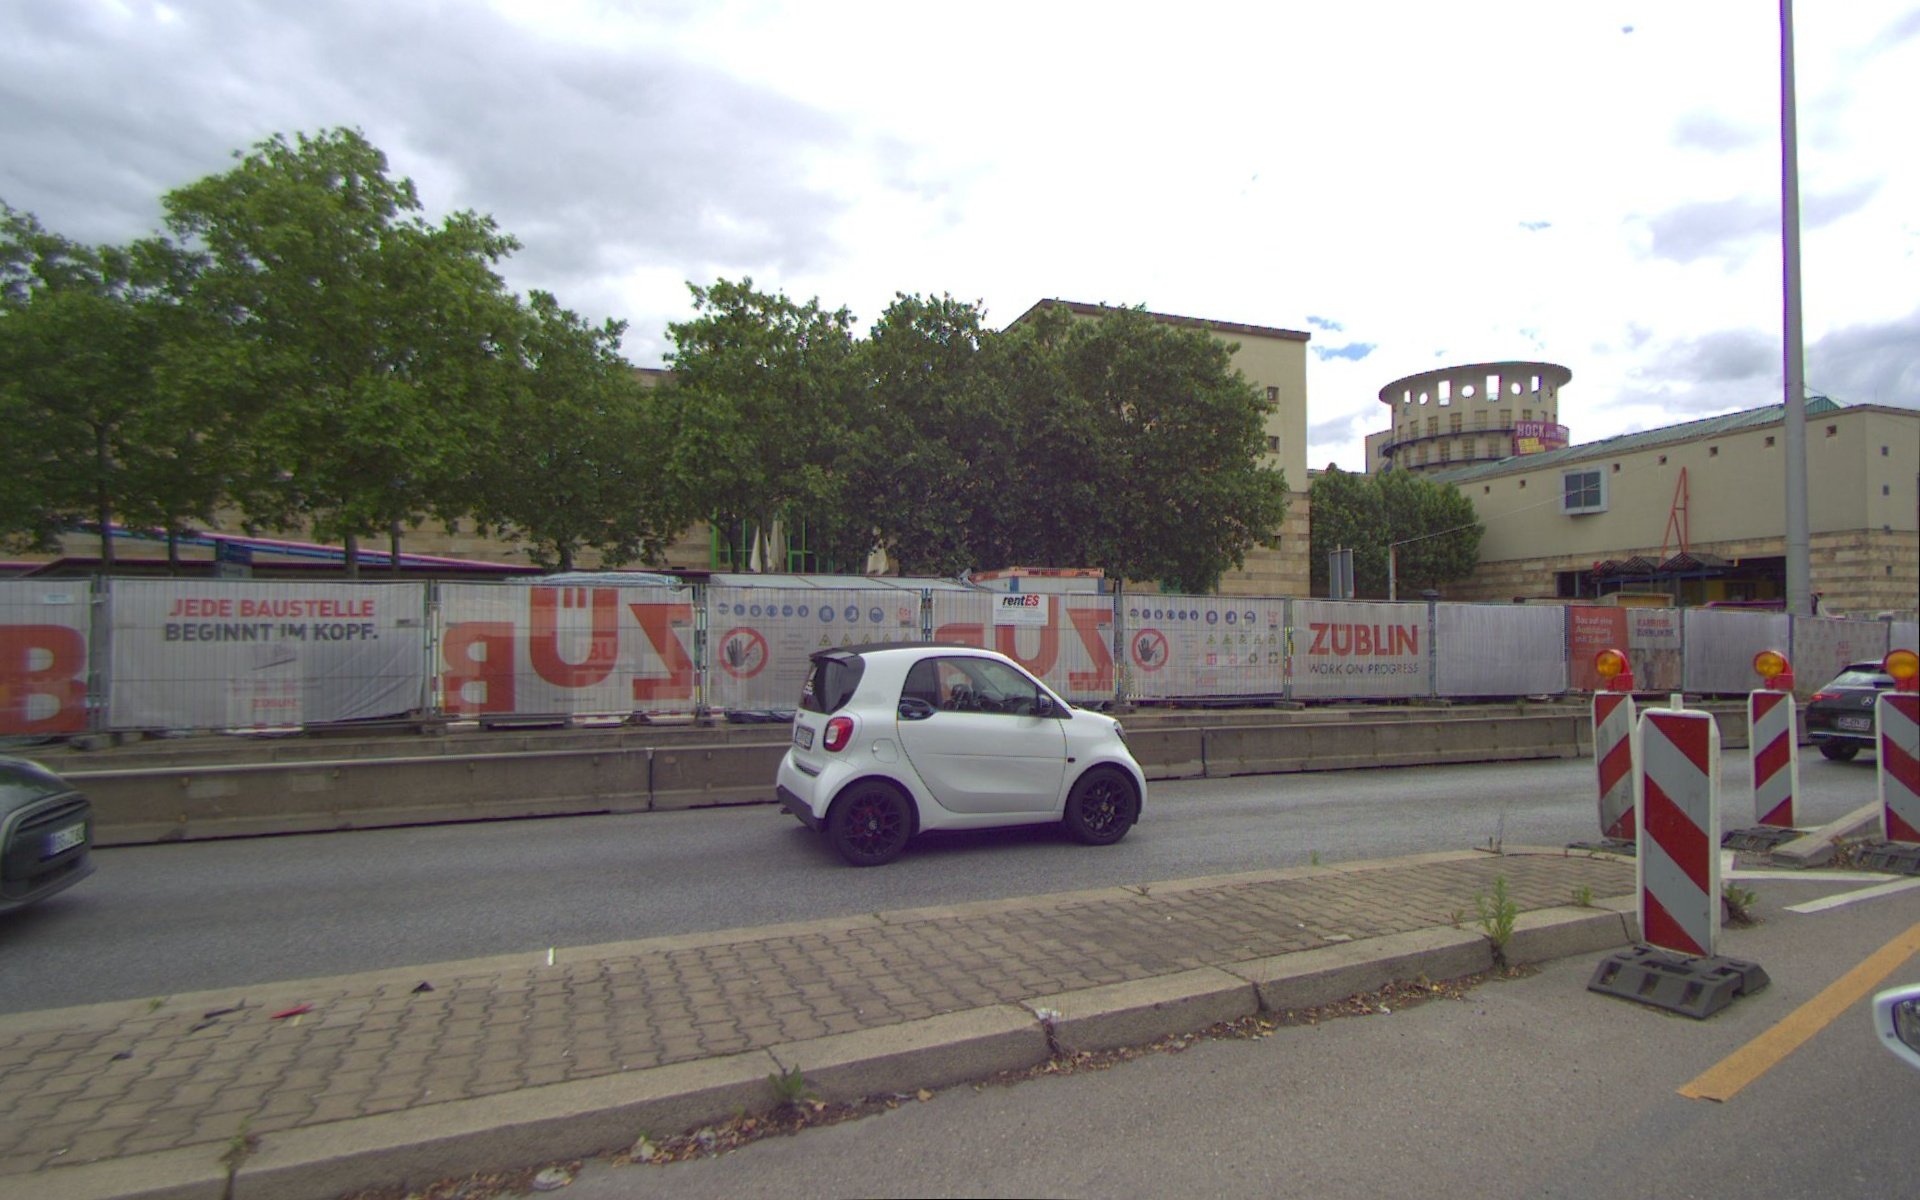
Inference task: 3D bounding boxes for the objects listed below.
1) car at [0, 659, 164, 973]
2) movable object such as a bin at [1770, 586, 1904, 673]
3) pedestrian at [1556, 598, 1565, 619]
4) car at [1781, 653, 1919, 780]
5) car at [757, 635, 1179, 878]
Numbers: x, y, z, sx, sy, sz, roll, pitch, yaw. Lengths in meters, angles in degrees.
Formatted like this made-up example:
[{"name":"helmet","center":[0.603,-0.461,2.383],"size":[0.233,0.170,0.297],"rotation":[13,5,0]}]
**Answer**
[{"name":"car","center":[-6.626,1.052,4.949],"size":[3.878,1.458,1.644],"rotation":[1,-1,-23]},{"name":"movable object such as a bin","center":[23.612,0.814,27.056],"size":[3.248,2.214,1.517],"rotation":[1,-2,-25]},{"name":"pedestrian","center":[58.372,0.795,97.609],"size":[0.592,2.040,0.411],"rotation":[2,0,-20]},{"name":"car","center":[13.158,1.453,13.145],"size":[4.500,1.434,1.850],"rotation":[1,-1,-23]},{"name":"car","center":[0.027,1.099,7.988],"size":[2.959,1.575,1.627],"rotation":[1,-1,-23]}]
